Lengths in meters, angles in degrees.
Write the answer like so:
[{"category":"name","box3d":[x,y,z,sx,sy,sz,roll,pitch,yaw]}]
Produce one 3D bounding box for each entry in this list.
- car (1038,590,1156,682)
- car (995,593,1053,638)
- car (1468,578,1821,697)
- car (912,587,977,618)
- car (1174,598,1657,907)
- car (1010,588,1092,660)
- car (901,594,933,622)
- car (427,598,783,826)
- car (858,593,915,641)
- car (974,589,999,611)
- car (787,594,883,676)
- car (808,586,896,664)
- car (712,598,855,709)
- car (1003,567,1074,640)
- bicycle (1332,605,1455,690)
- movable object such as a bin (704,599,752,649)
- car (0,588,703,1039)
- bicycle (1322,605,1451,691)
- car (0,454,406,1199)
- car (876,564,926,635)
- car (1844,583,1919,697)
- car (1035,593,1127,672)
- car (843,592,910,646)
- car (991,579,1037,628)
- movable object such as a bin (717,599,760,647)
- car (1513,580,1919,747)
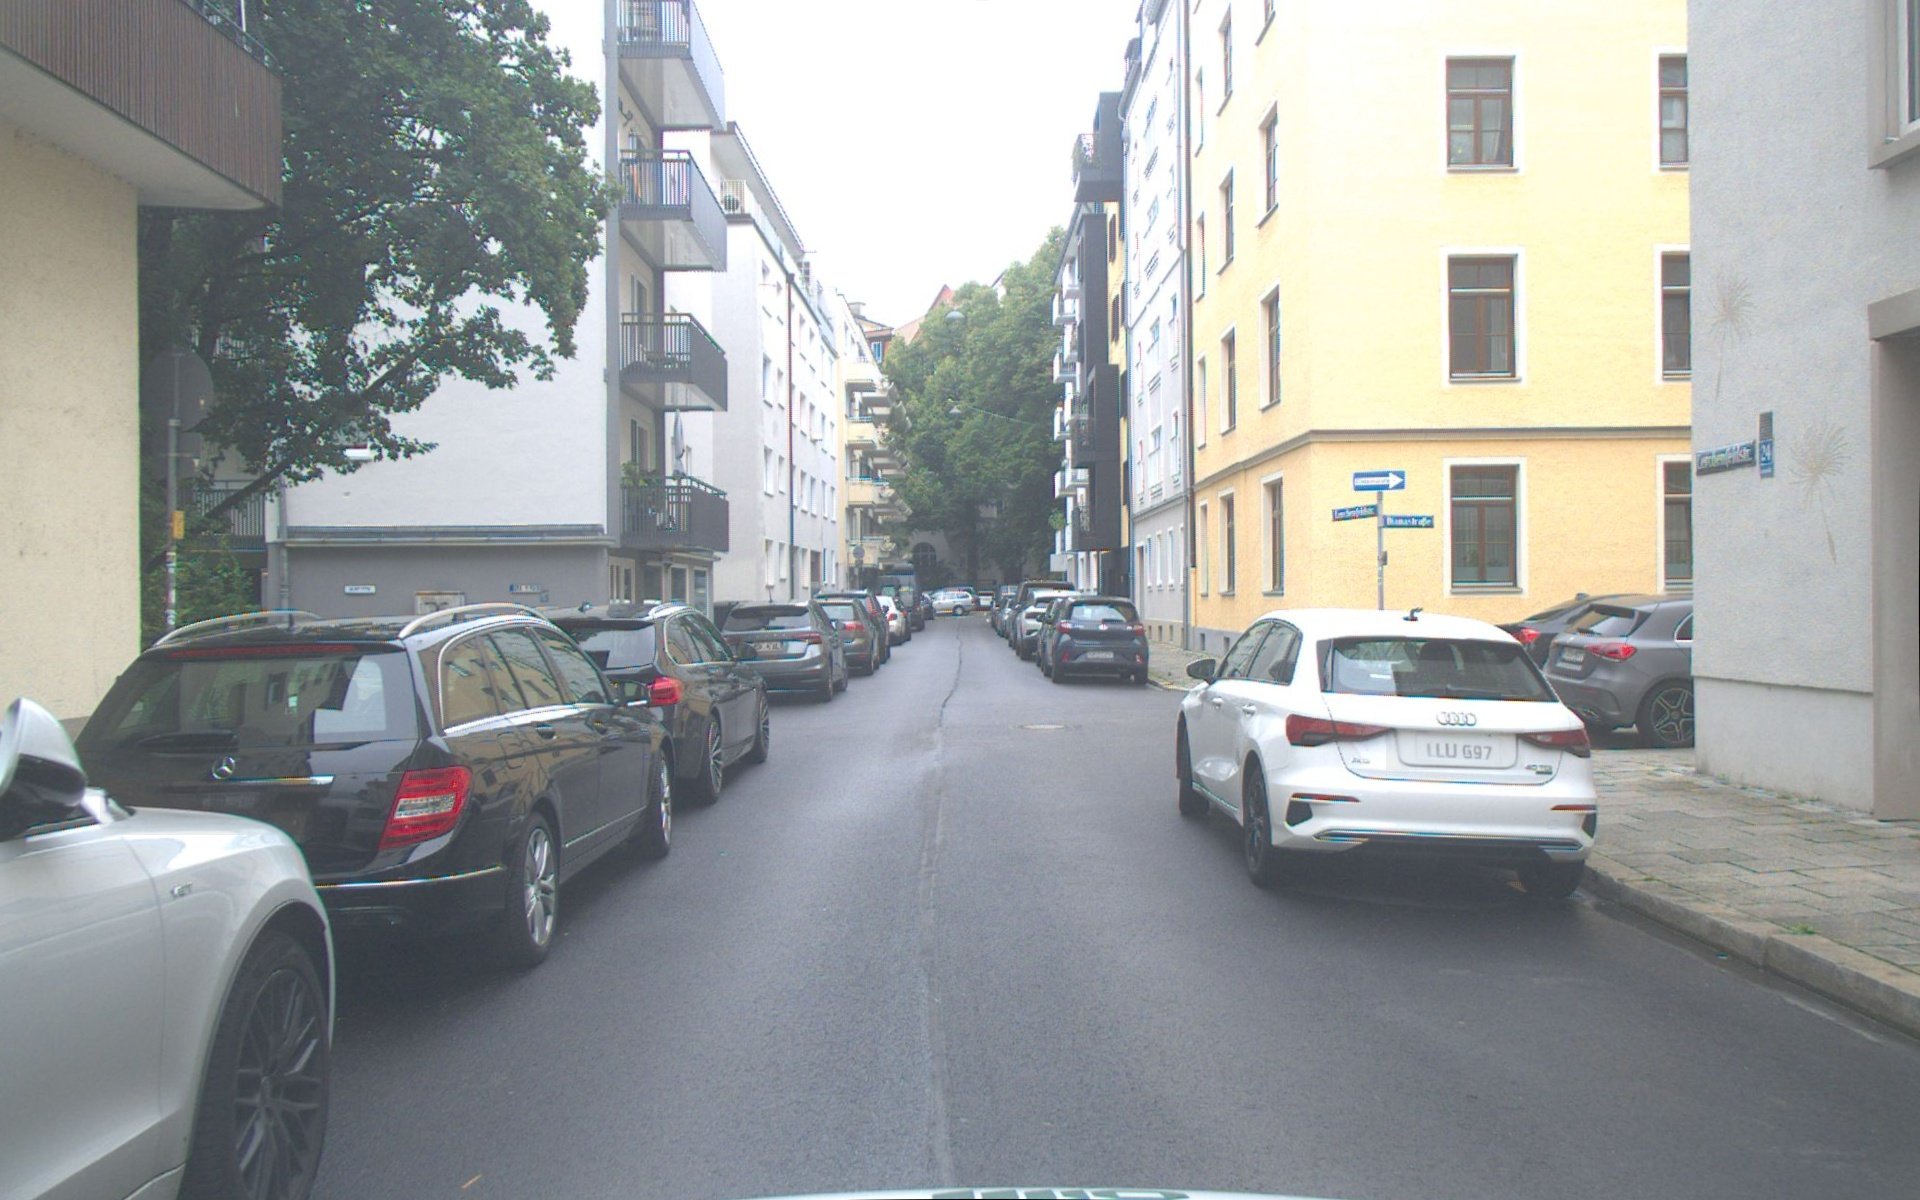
[{"category":"car","box3d":[2.420,0.591,30.163,1.715,1.495,4.342,2,0,-1]},{"category":"car","box3d":[2.228,0.520,58.581,1.792,1.479,4.415,2,0,-1]},{"category":"car","box3d":[9.307,0.502,22.691,4.127,1.520,1.711,-1,-1,-2]},{"category":"car","box3d":[-0.967,0.160,99.948,3.807,1.612,1.647,-3,0,-2]},{"category":"car","box3d":[2.448,0.732,9.924,1.782,1.433,3.952,0,1,0]},{"category":"car","box3d":[2.148,0.542,40.030,1.648,1.595,4.415,2,0,-1]},{"category":"car","box3d":[-2.312,0.400,89.925,1.609,1.407,3.482,-3,0,-1]},{"category":"car","box3d":[-2.590,0.740,13.159,1.818,1.433,4.383,-2,0,0]},{"category":"car","box3d":[-2.496,0.551,56.753,1.741,1.478,4.045,-3,0,-1]},{"category":"car","box3d":[1.850,-0.024,117.038,1.609,1.407,3.745,-3,0,-1]},{"category":"car","box3d":[-2.419,0.638,32.684,1.659,1.467,3.976,-2,0,-2]},{"category":"car","box3d":[-2.454,0.541,38.378,1.740,1.657,4.414,-2,0,-1]},{"category":"car","box3d":[-2.566,0.735,24.831,1.658,1.467,3.942,-2,0,0]},{"category":"car","box3d":[2.225,0.080,47.616,1.792,1.943,4.415,1,0,0]},{"category":"bicycle","box3d":[6.342,0.692,24.236,1.678,1.159,0.374,-2,2,-1]},{"category":"movable object such as a bin","box3d":[-6.690,0.687,47.778,1.142,1.360,1.025,-3,0,2]},{"category":"car","box3d":[-2.496,0.727,7.957,1.729,1.509,4.424,-1,1,1]},{"category":"bicycle","box3d":[6.367,0.709,24.716,1.772,1.194,0.505,-2,2,-2]},{"category":"car","box3d":[-2.341,0.644,2.268,1.730,1.704,4.366,-1,0,-1]},{"category":"car","box3d":[-2.511,-0.037,71.387,1.897,2.850,4.532,-3,0,-1]},{"category":"car","box3d":[14.689,0.558,22.972,3.893,1.520,1.711,0,-2,-1]},{"category":"car","box3d":[2.464,0.637,34.417,1.629,1.495,3.819,2,0,1]},{"category":"car","box3d":[-2.566,0.544,51.460,1.740,1.512,4.519,-3,0,0]},{"category":"car","box3d":[2.402,0.146,74.395,1.792,2.034,4.415,2,0,-1]},{"category":"movable object such as a bin","box3d":[-6.543,0.676,48.856,1.026,1.360,0.993,-3,0,3]},{"category":"car","box3d":[7.865,0.571,16.339,4.120,1.424,1.999,-1,2,-4]}]
